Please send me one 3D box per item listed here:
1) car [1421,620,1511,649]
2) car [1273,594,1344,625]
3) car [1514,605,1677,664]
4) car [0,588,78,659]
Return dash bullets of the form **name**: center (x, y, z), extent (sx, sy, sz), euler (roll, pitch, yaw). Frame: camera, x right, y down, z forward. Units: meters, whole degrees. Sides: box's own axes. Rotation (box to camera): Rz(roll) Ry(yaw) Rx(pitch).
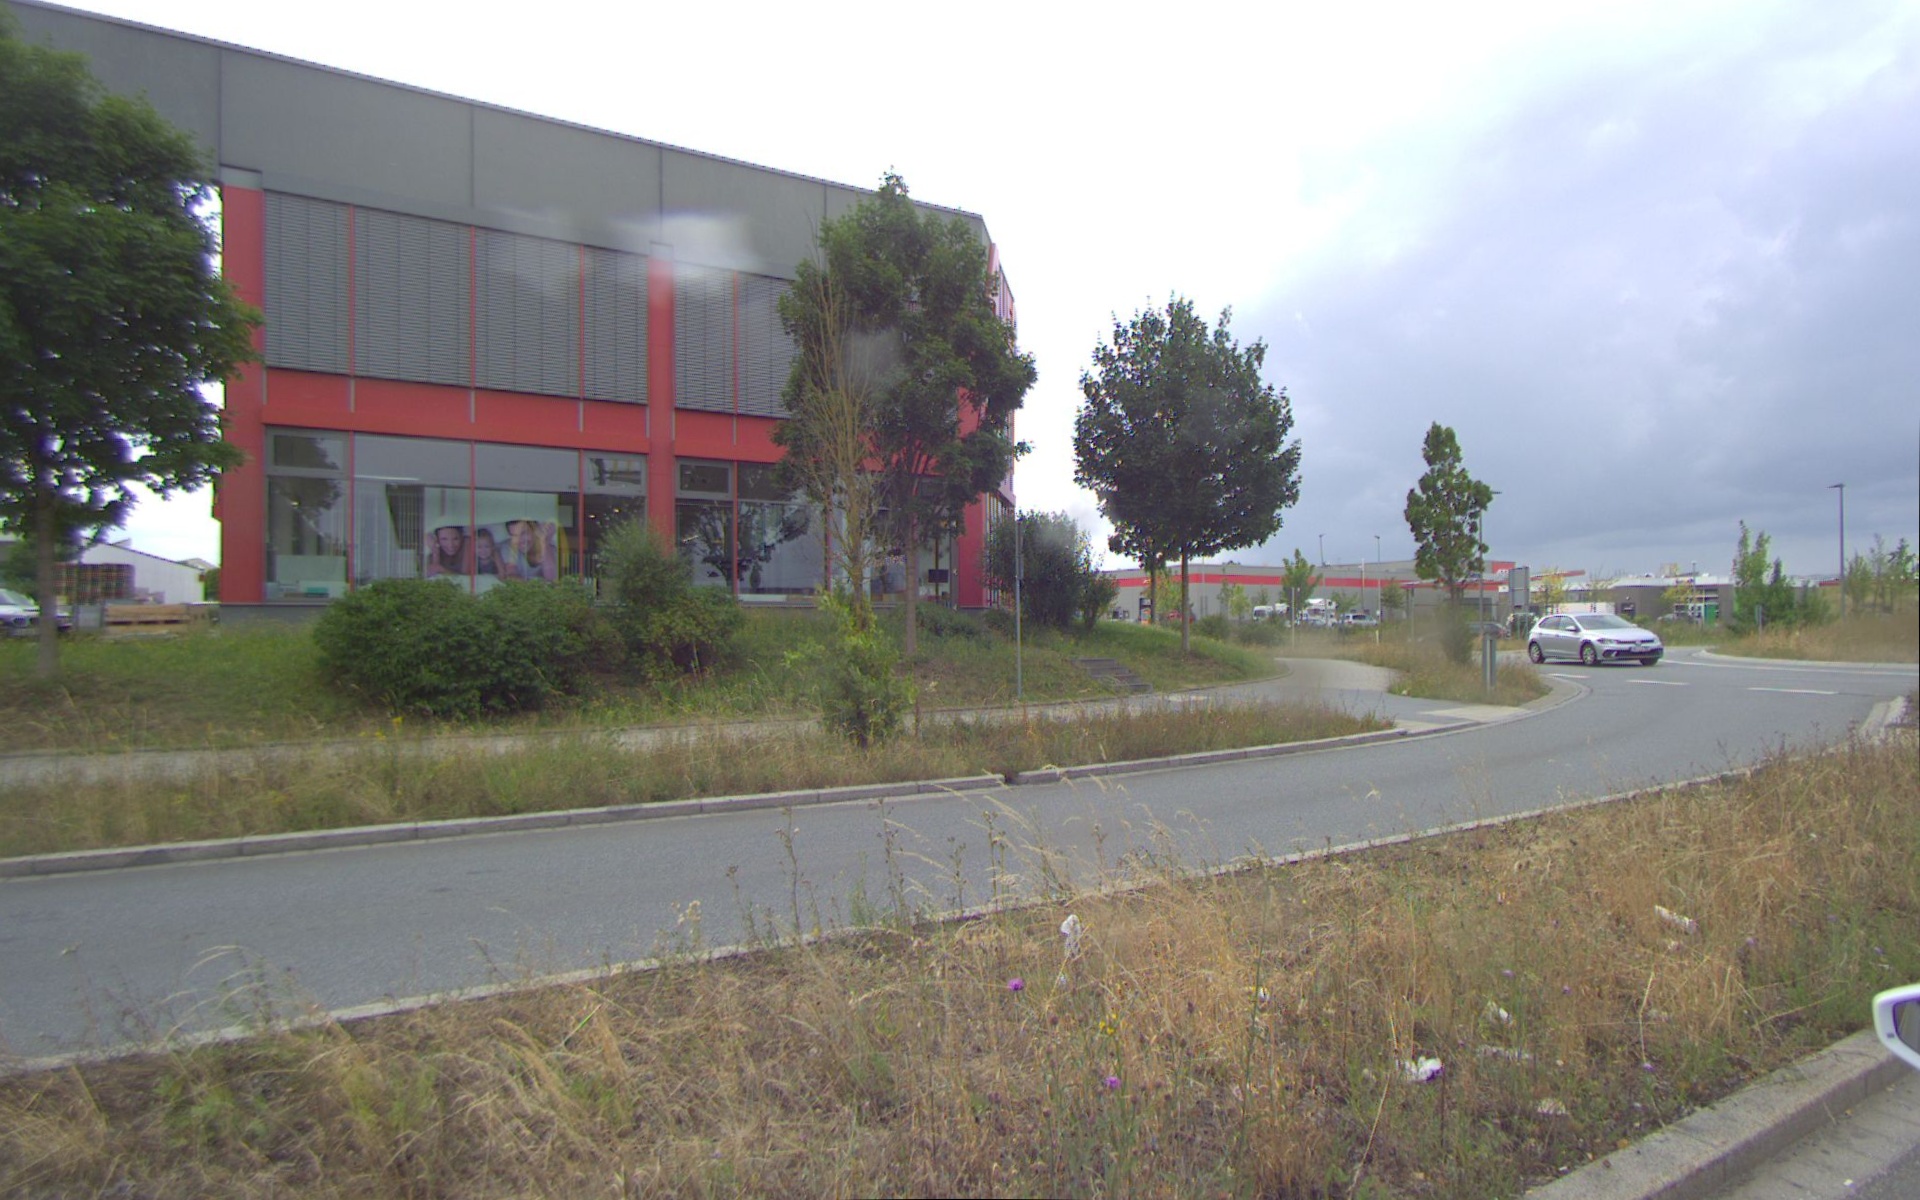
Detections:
- **car**: center (24.503, 1.656, 48.669), extent (3.781, 1.342, 1.467), euler (-1, -2, 32)
- **car**: center (34.448, 0.961, 99.152), extent (7.606, 2.857, 2.449), euler (2, 0, -32)
- **car**: center (17.465, 0.958, 27.842), extent (1.779, 1.483, 3.999), euler (-2, -2, -3)
- **car**: center (-18.382, 0.417, 18.608), extent (2.826, 1.287, 1.253), euler (2, 0, -29)
